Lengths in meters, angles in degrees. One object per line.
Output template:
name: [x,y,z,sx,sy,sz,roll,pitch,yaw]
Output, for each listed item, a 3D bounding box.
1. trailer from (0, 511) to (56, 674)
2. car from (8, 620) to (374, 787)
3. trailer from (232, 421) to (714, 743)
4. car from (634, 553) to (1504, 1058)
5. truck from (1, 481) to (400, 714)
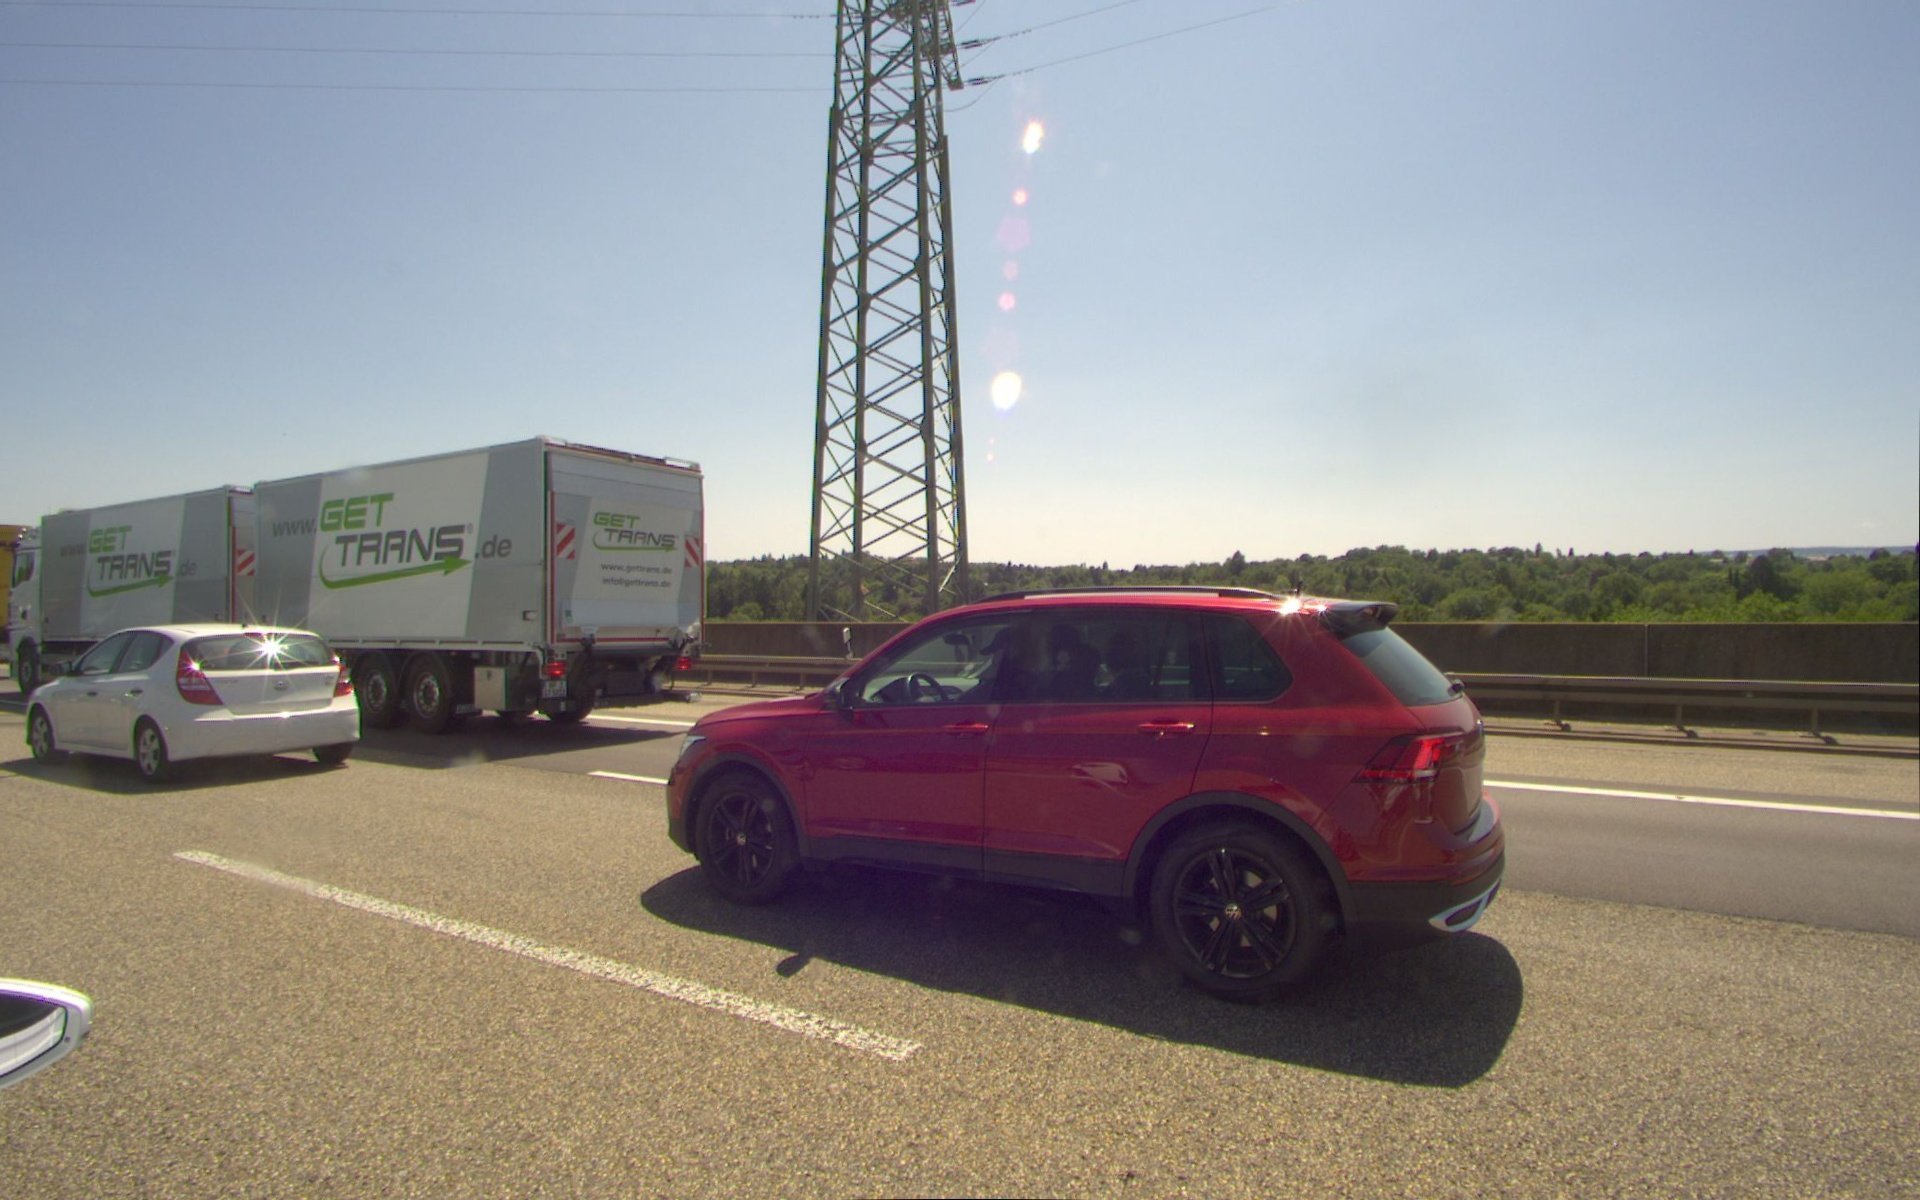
trailer: [-29.291,-0.123,28.613,8.883,4.293,2.860,-1,-2,32]
car: [-8.325,0.953,10.749,4.232,1.474,1.785,-1,-1,32]
trailer: [-7.471,-0.152,14.902,7.899,3.748,2.693,-1,0,32]
car: [0.415,0.724,5.205,4.163,1.683,1.772,-1,-1,32]
truck: [-15.430,0.034,19.895,10.851,3.695,2.652,-1,0,32]
